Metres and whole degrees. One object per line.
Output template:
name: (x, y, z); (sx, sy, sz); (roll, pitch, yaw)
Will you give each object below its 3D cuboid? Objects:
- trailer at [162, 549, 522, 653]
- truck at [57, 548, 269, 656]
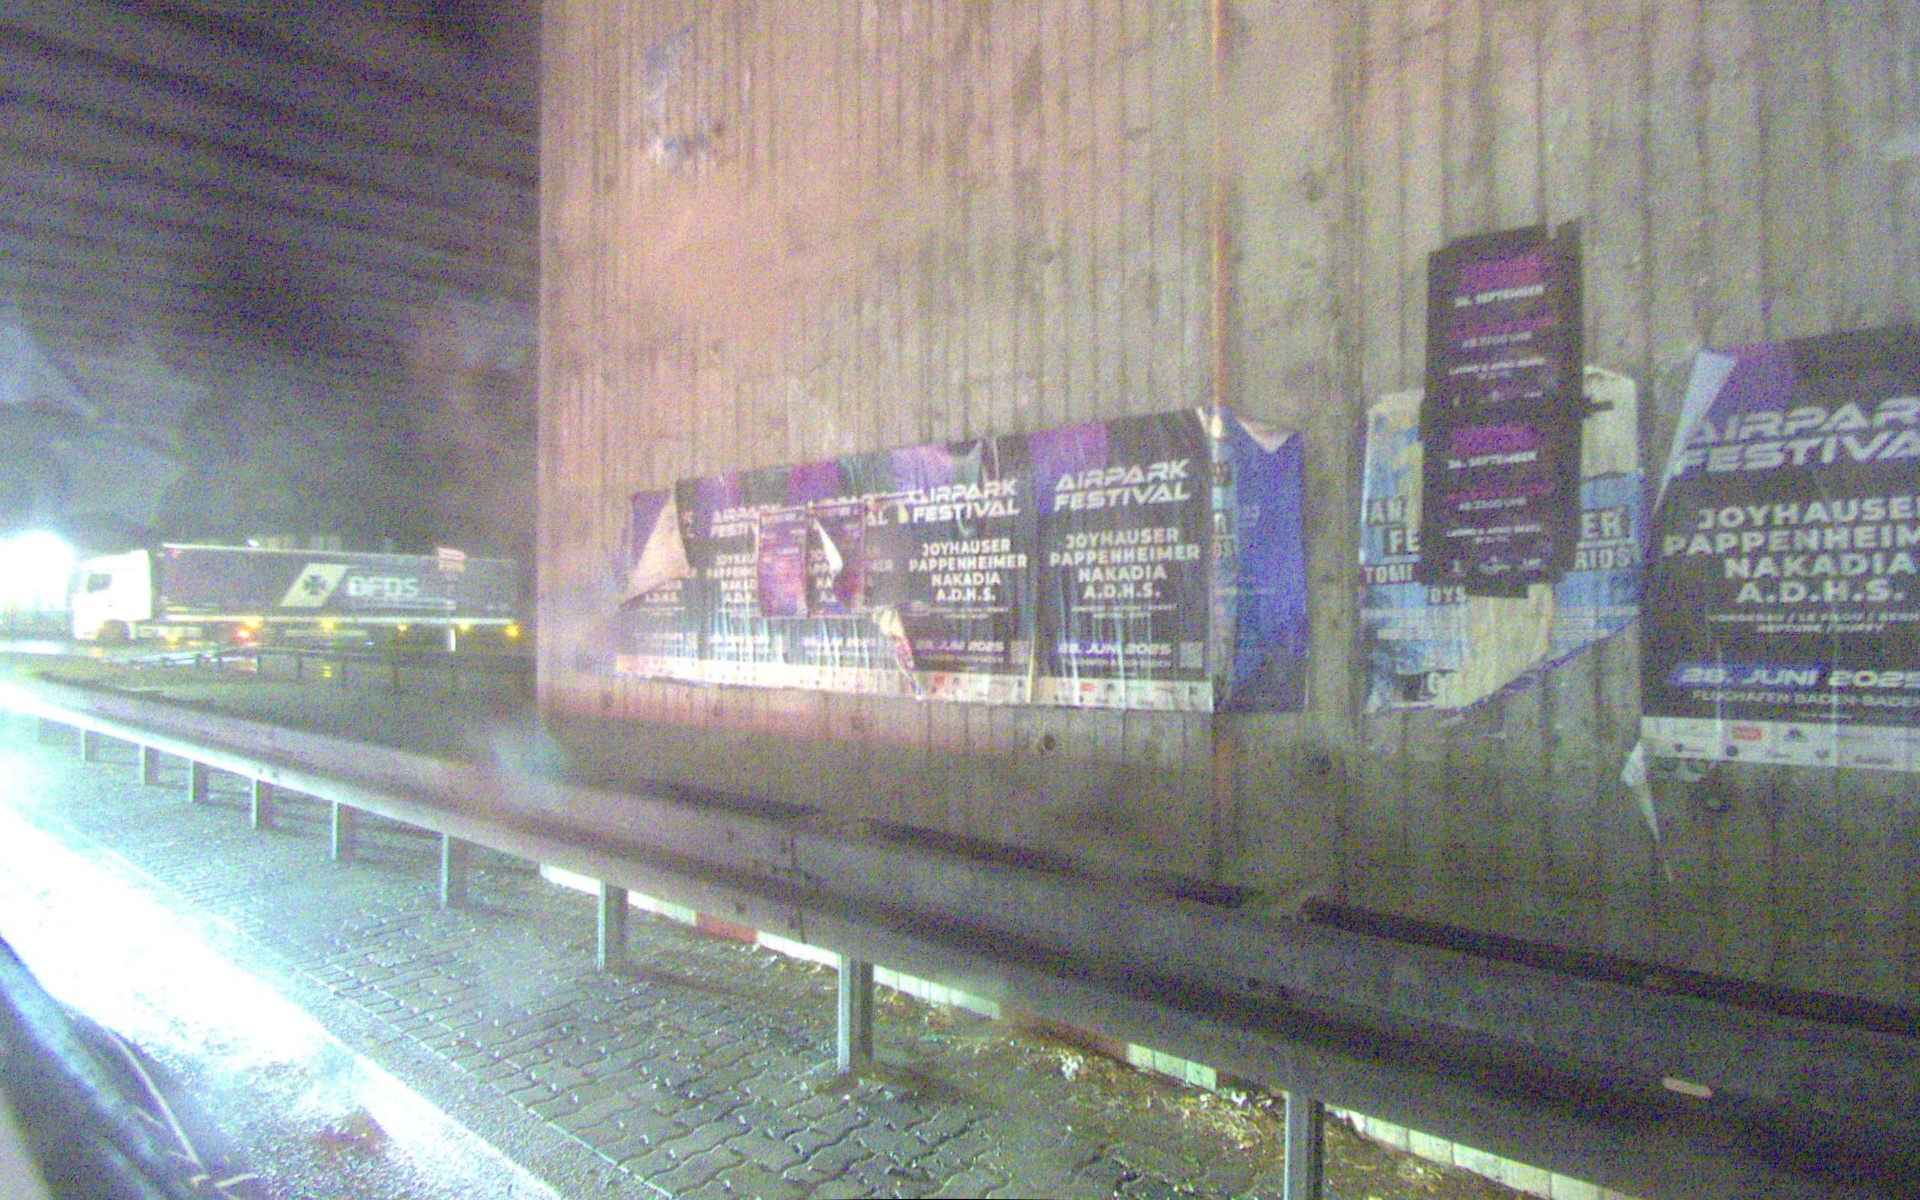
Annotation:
trailer: (-27.905, -0.017, 46.556); (13.693, 4.208, 3.978); (-1, 0, -37)
truck: (-33.288, 0.061, 42.670); (6.266, 4.208, 3.983); (-1, 0, -26)
